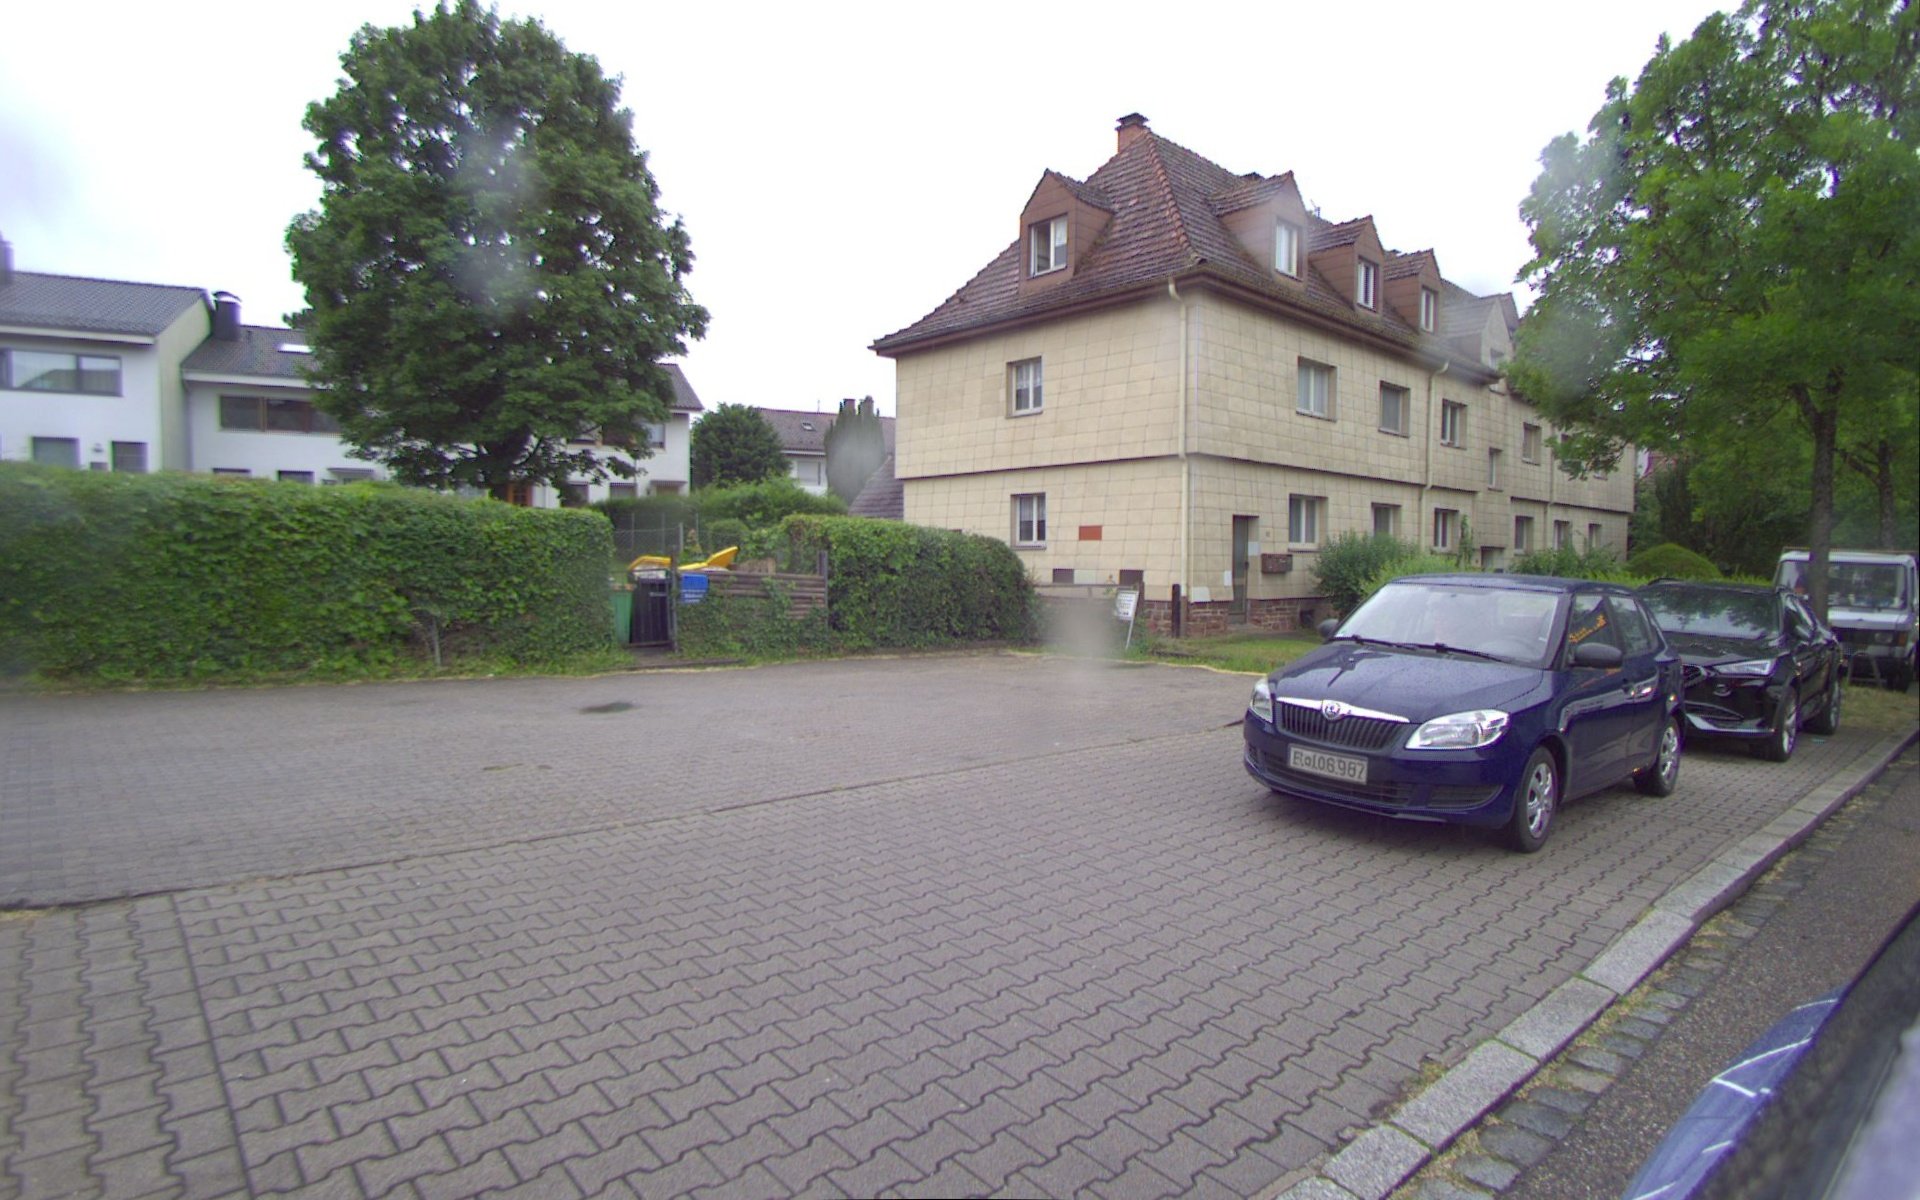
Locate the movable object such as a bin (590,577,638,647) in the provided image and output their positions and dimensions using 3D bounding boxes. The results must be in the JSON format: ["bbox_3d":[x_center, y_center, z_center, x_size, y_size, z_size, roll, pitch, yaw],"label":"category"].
[{"bbox_3d":[-4.810,0.158,14.081,0.441,0.954,0.539,0,0,-45],"label":"movable object such as a bin"}]

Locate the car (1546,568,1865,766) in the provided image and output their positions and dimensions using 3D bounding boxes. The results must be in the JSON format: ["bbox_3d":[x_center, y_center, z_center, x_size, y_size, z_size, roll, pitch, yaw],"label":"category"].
[{"bbox_3d":[7.394,0.487,9.893,3.932,1.481,1.719,-1,4,-42],"label":"car"}]

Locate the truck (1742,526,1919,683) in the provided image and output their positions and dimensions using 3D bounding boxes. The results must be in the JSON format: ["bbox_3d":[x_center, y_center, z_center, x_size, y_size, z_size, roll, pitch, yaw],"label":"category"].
[{"bbox_3d":[15.081,0.032,16.900,5.653,2.224,1.998,0,2,-40],"label":"truck"}]

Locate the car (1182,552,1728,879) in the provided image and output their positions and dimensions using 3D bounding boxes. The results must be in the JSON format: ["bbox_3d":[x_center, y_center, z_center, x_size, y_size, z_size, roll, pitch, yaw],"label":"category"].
[{"bbox_3d":[3.362,0.480,6.545,3.930,1.441,1.719,-1,4,-41],"label":"car"}]

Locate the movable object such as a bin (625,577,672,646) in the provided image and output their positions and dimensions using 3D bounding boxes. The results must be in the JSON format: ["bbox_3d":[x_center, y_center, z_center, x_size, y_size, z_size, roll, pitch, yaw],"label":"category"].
[{"bbox_3d":[-4.456,0.159,14.472,0.441,0.954,0.539,0,0,-45],"label":"movable object such as a bin"}]

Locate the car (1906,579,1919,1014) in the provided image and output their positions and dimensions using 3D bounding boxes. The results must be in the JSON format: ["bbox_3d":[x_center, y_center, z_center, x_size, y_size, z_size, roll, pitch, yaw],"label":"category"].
[{"bbox_3d":[5.613,0.688,4.298,4.240,1.548,1.881,0,-1,-41],"label":"car"}]
